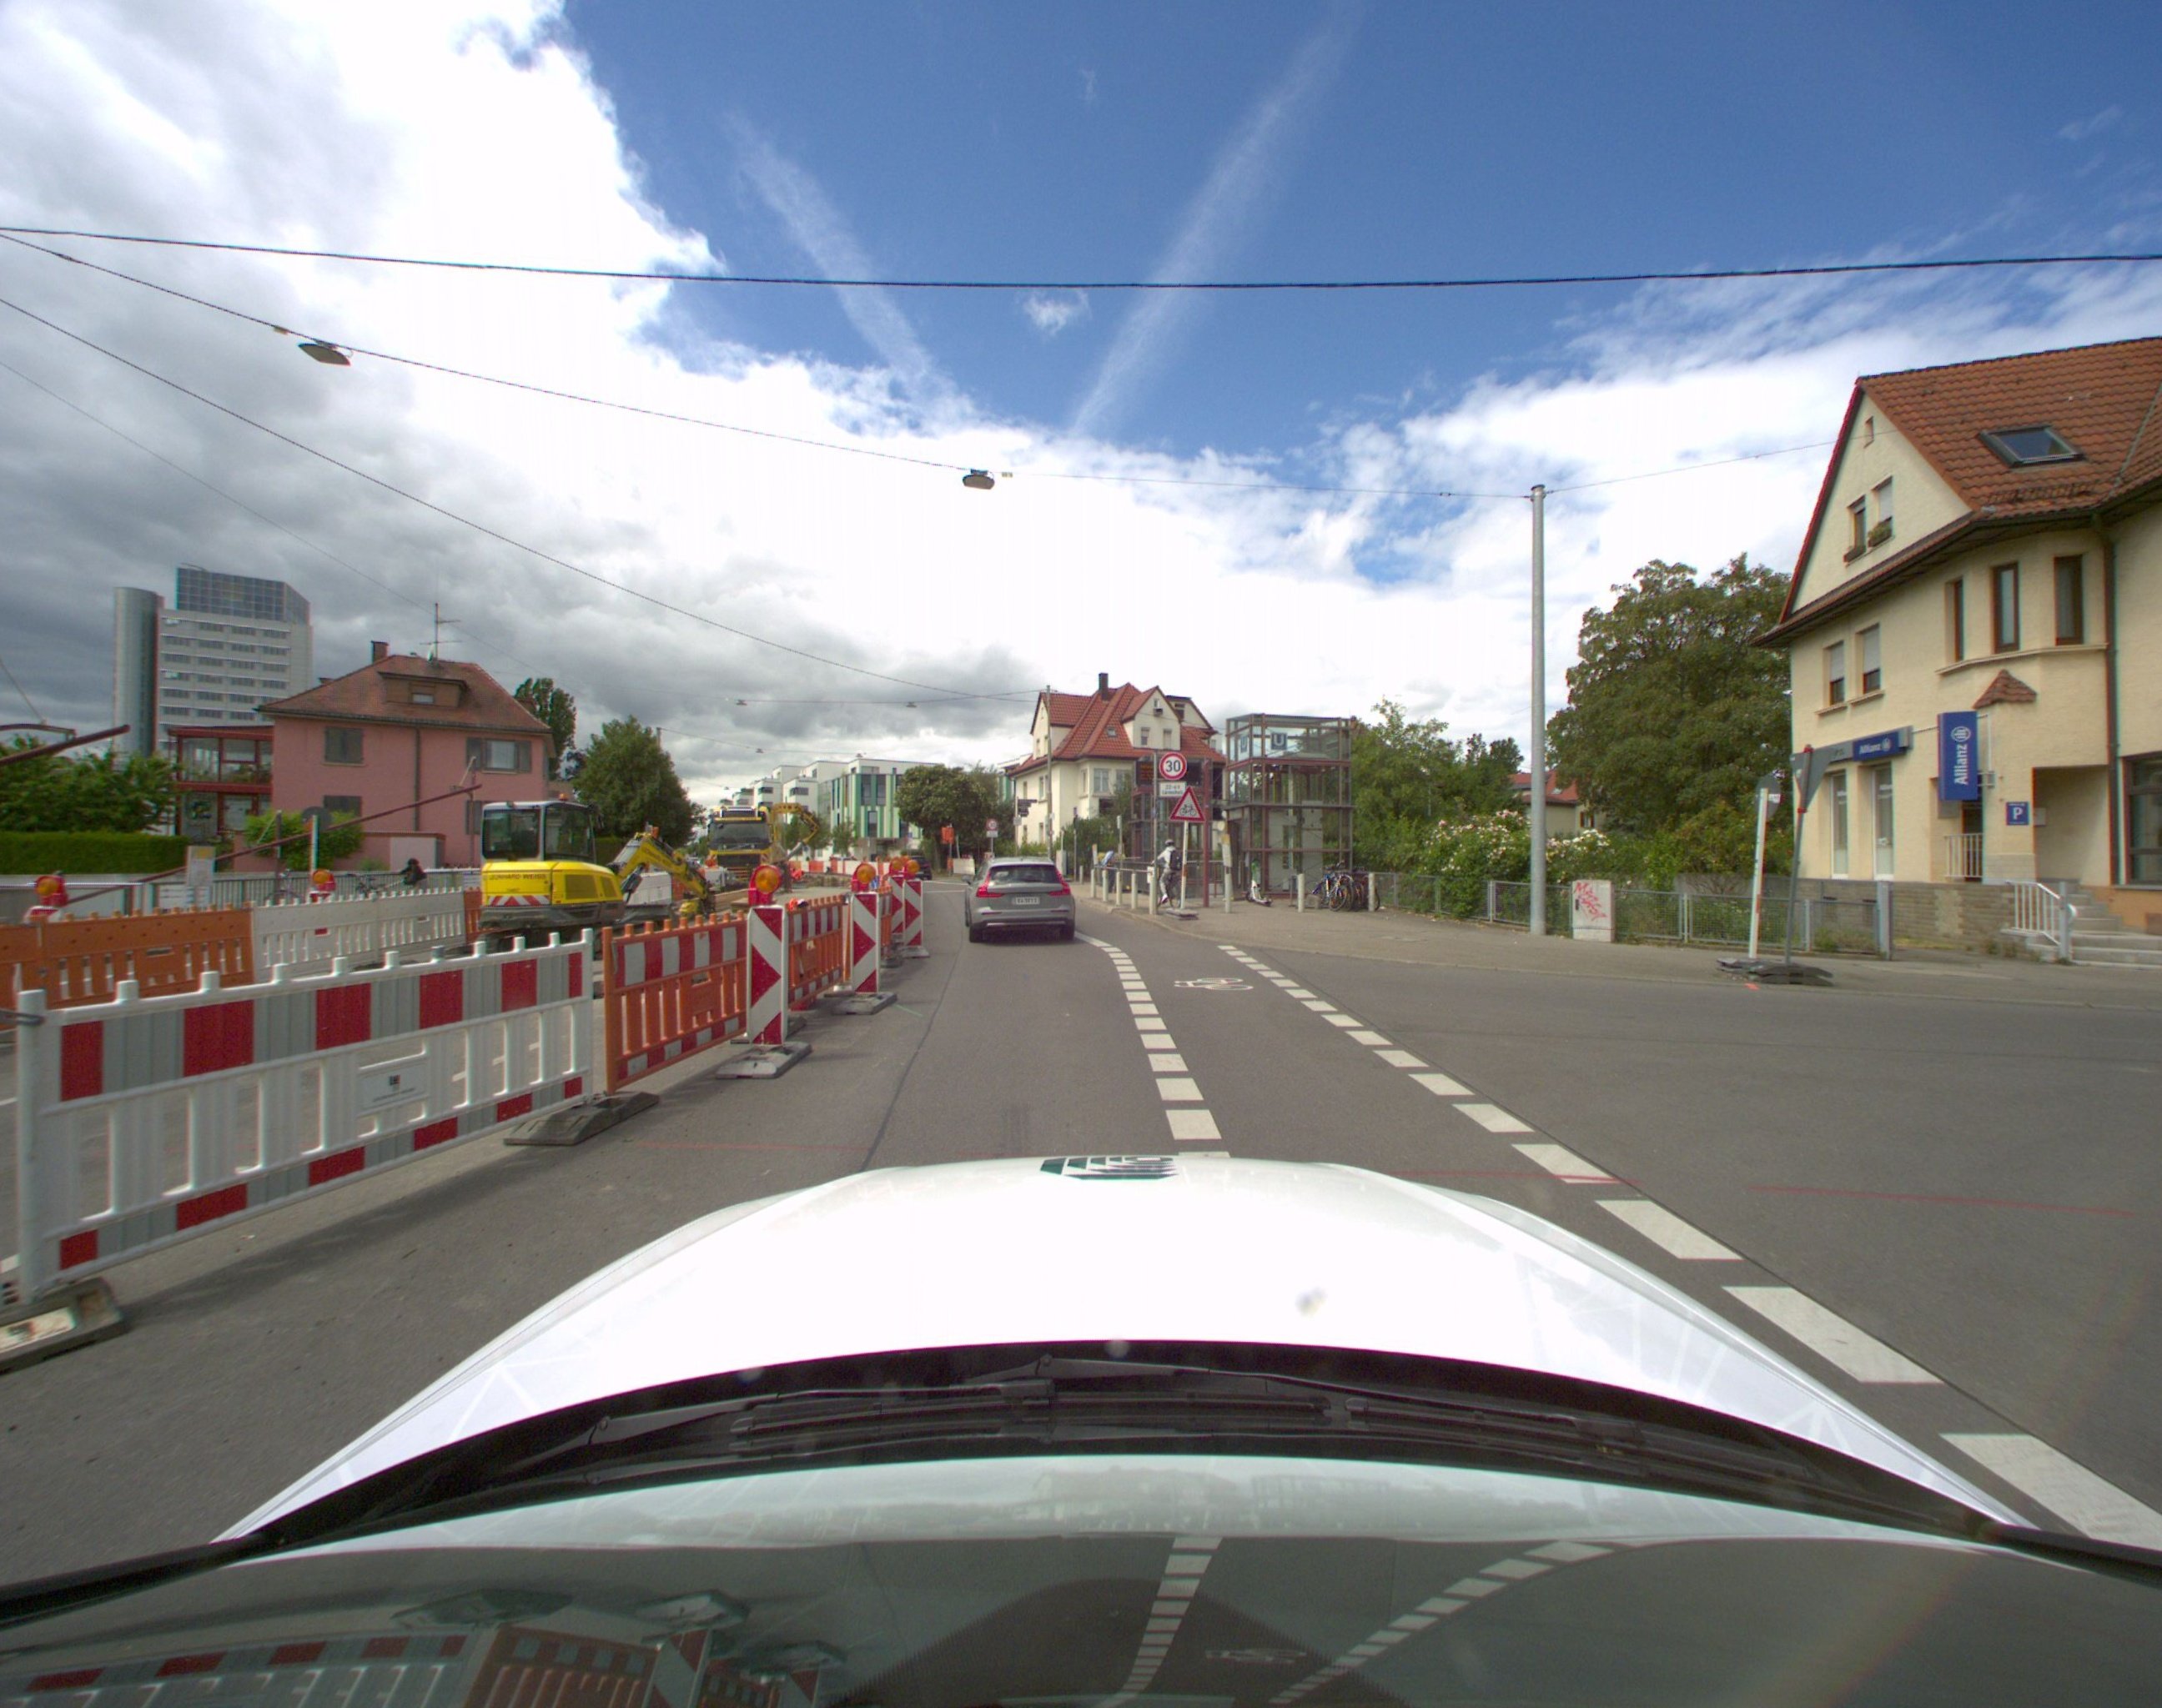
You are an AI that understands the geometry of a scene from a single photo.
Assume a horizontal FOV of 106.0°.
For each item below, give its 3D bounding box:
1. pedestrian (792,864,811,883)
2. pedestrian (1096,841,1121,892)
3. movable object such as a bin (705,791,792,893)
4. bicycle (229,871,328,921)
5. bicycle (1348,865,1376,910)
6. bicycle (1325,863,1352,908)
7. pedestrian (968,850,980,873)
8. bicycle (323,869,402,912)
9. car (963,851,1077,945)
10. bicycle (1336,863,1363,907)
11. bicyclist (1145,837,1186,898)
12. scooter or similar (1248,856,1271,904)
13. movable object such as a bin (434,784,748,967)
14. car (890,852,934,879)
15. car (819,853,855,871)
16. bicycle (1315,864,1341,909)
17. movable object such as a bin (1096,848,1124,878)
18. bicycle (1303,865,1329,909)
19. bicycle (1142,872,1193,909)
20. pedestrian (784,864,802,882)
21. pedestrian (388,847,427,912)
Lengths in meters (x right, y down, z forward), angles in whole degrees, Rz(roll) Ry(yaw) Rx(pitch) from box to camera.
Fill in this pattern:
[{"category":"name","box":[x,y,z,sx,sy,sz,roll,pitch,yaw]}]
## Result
[{"category":"pedestrian","box":[-15.620,1.075,45.524,0.788,0.991,0.811,-1,0,-2]},{"category":"pedestrian","box":[0.890,0.417,26.198,0.598,1.583,0.400,5,-3,-12]},{"category":"movable object such as a bin","box":[-15.813,-0.527,39.529,2.596,4.221,11.061,-1,0,-16]},{"category":"bicycle","box":[-19.326,0.988,19.675,0.538,1.082,2.125,-1,0,-9]},{"category":"bicycle","box":[6.710,0.782,19.472,0.215,1.008,1.189,-1,0,-2]},{"category":"bicycle","box":[6.147,0.737,19.471,0.215,1.013,1.168,-1,0,-2]},{"category":"pedestrian","box":[-7.303,0.485,55.528,0.524,1.539,0.629,-1,0,-40]},{"category":"bicycle","box":[-19.735,0.977,22.428,0.538,1.082,2.125,-1,0,-9]},{"category":"car","box":[-1.153,0.714,15.454,1.851,1.513,3.994,-1,0,-4]},{"category":"bicycle","box":[6.412,0.730,19.466,0.215,1.008,1.189,-1,0,-2]},{"category":"bicyclist","box":[2.022,0.313,19.499,0.656,1.415,1.174,0,0,-12]},{"category":"scooter or similar","box":[4.456,0.632,20.353,0.215,1.111,0.943,-1,3,-10]},{"category":"movable object such as a bin","box":[-8.443,0.289,15.093,1.988,2.625,6.518,-1,0,-2]},{"category":"car","box":[-10.038,0.648,48.169,1.862,1.513,3.970,1,-1,-22]},{"category":"car","box":[-21.379,0.718,71.260,1.858,1.513,3.957,1,-1,-35]},{"category":"bicycle","box":[5.883,0.755,19.434,0.215,1.001,1.206,-1,0,-2]},{"category":"movable object such as a bin","box":[1.426,0.434,39.757,1.266,1.470,1.003,0,0,-5]},{"category":"bicycle","box":[5.603,0.760,19.428,0.215,0.989,1.203,-1,0,-2]},{"category":"bicycle","box":[2.031,0.854,19.451,0.636,0.753,2.054,0,1,-11]},{"category":"pedestrian","box":[-16.369,1.090,46.281,0.637,0.991,0.795,-1,0,8]},{"category":"pedestrian","box":[-20.030,0.755,24.224,0.679,1.886,0.583,-1,0,-12]}]
